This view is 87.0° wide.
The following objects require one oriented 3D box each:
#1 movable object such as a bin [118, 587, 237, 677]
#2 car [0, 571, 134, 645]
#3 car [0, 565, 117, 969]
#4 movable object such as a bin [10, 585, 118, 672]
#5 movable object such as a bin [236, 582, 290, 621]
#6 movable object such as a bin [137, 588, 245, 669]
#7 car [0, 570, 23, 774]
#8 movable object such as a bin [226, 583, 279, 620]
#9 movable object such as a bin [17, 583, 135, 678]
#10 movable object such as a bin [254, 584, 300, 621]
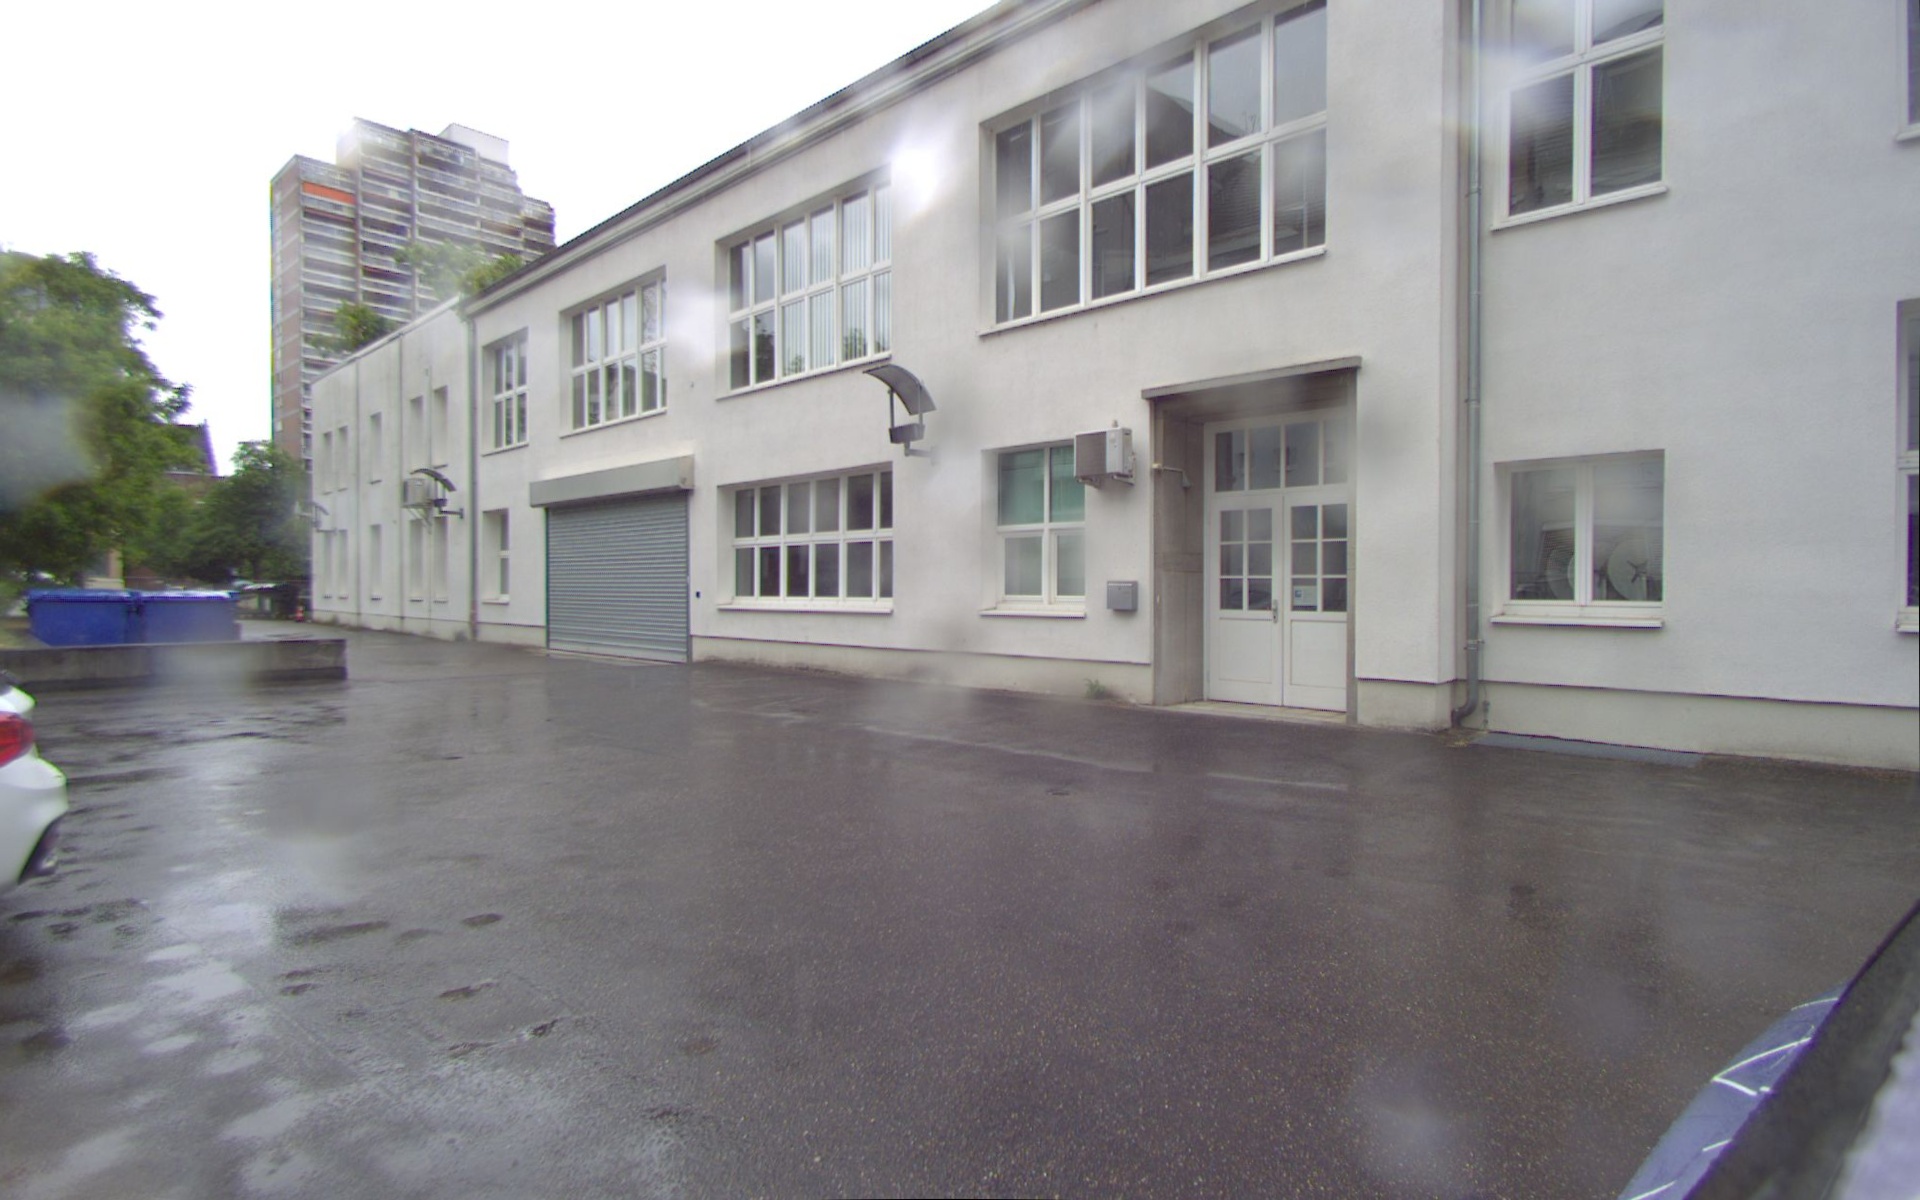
[{"bbox_3d":[-13.133,0.523,16.963,1.898,1.375,1.293,-2,0,44],"label":"movable object such as a bin"},{"bbox_3d":[-25.884,0.260,27.916,4.622,1.905,2.117,-3,-1,-44],"label":"car"},{"bbox_3d":[-5.449,0.646,3.089,1.991,1.508,4.160,0,0,40],"label":"car"},{"bbox_3d":[-15.448,0.473,17.437,1.964,1.375,1.214,-2,0,44],"label":"movable object such as a bin"},{"bbox_3d":[-28.238,0.059,40.988,1.307,1.466,1.472,-2,0,39],"label":"movable object such as a bin"},{"bbox_3d":[-14.185,0.509,18.656,1.898,1.375,1.293,-2,0,44],"label":"movable object such as a bin"},{"bbox_3d":[-9.094,0.559,6.620,1.991,1.508,4.160,0,0,40],"label":"car"},{"bbox_3d":[-29.259,0.063,41.861,1.307,1.466,1.472,-2,0,39],"label":"movable object such as a bin"},{"bbox_3d":[-14.026,0.472,16.040,1.964,1.375,1.214,-2,0,44],"label":"movable object such as a bin"},{"bbox_3d":[-26.991,0.088,39.993,1.307,1.391,1.172,-2,0,39],"label":"movable object such as a bin"}]
